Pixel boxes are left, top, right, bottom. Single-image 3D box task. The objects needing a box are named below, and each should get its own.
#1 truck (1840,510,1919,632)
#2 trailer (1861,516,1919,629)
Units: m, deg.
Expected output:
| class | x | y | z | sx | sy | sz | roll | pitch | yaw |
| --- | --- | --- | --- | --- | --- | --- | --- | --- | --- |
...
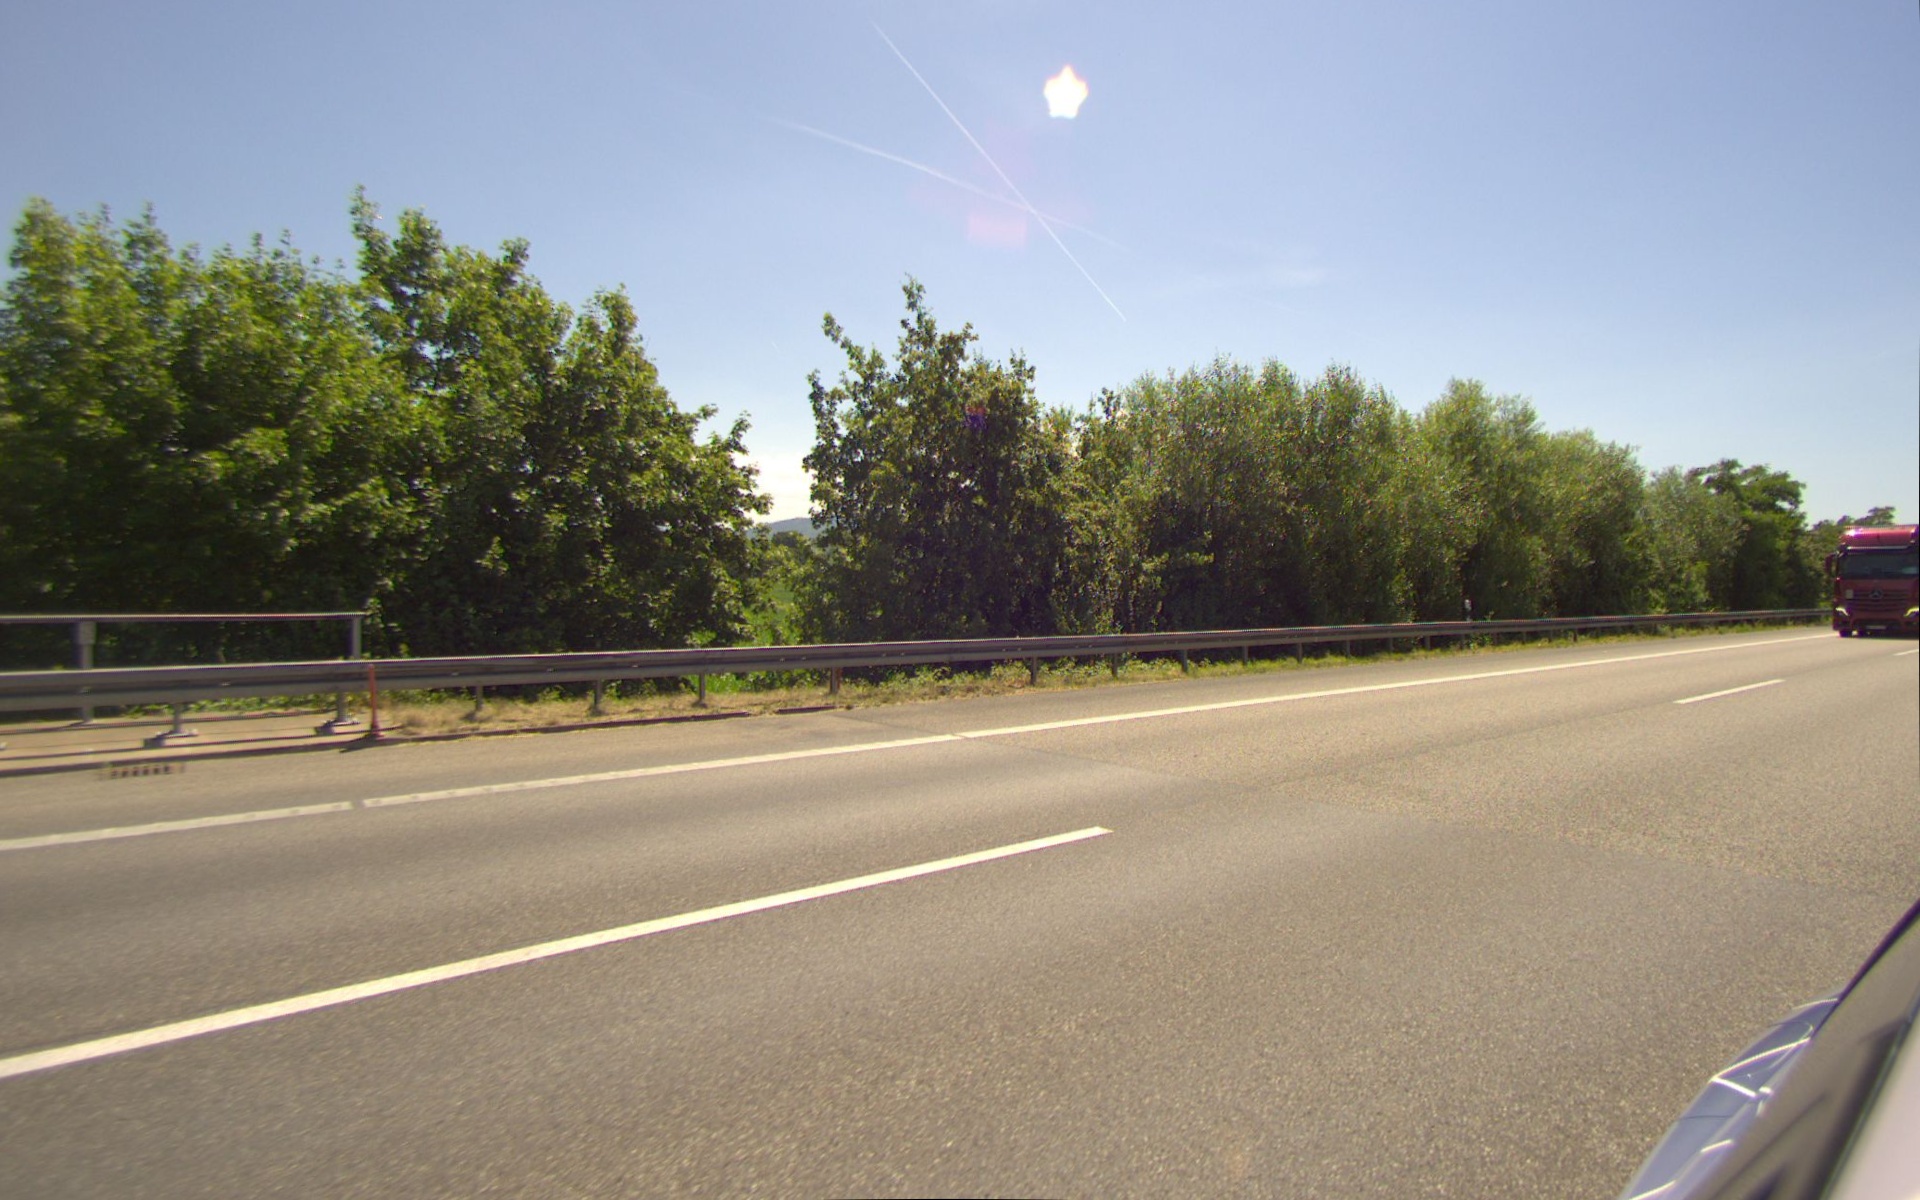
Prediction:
| class | x | y | z | sx | sy | sz | roll | pitch | yaw |
| --- | --- | --- | --- | --- | --- | --- | --- | --- | --- |
| truck | 35.192 | -1.024 | 37.504 | 7.633 | 4.170 | 2.801 | -1 | 0 | -40 |
| trailer | 39.990 | -1.088 | 41.583 | 12.083 | 4.170 | 2.801 | -1 | 0 | -40 |
